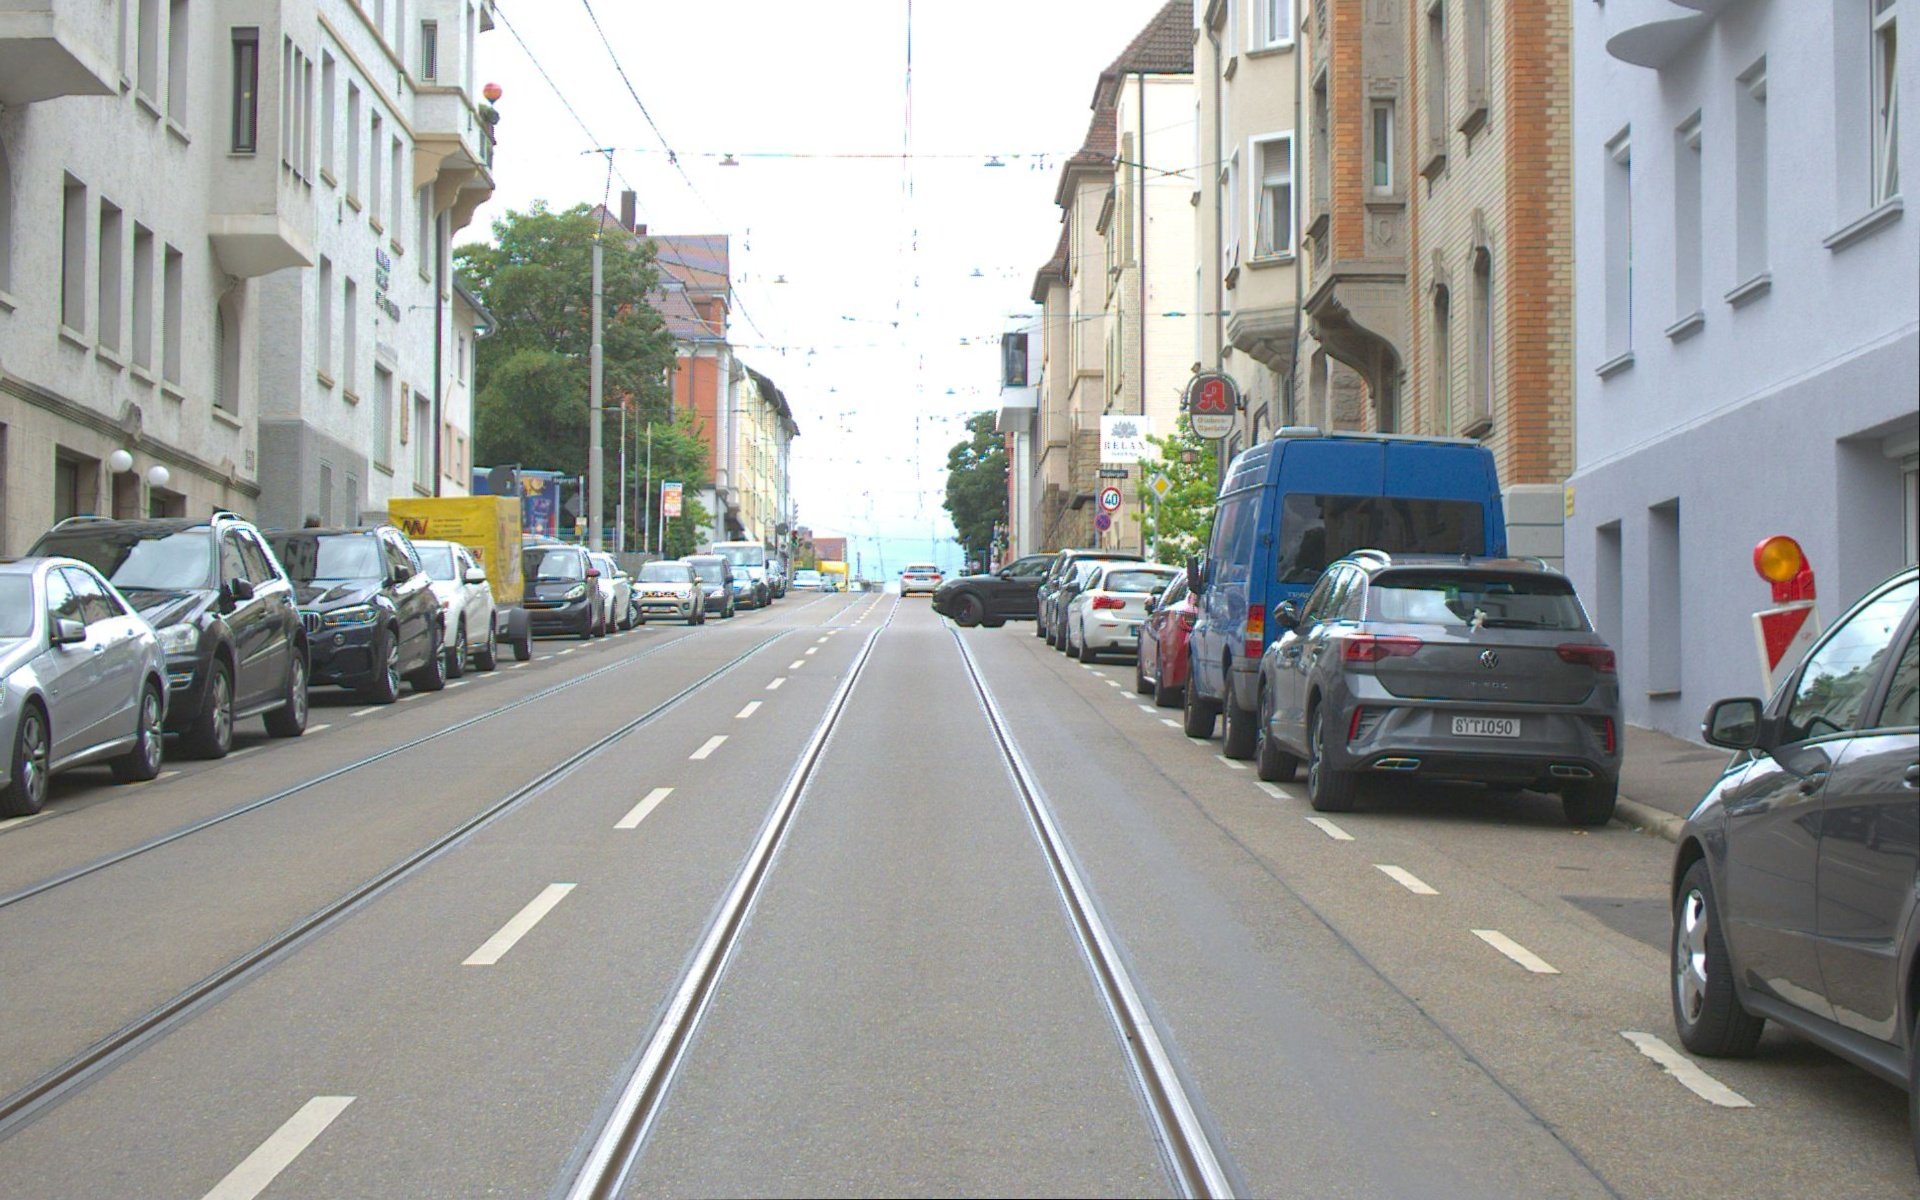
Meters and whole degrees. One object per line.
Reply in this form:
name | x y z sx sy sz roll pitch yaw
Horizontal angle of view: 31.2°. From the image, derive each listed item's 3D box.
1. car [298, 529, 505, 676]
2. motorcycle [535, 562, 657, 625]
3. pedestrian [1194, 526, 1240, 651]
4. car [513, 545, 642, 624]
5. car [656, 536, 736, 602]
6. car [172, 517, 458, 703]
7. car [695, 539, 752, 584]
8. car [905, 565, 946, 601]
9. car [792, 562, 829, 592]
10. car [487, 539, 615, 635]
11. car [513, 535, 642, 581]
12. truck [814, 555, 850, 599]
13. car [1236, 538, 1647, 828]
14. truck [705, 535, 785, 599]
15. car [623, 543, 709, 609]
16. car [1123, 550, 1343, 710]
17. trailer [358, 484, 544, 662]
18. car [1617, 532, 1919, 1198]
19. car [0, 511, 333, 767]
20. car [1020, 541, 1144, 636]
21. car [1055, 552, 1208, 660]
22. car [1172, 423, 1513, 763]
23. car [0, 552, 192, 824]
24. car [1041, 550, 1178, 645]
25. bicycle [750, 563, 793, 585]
car | -6.495 -0.017 40.410 1.697 1.588 4.268 -2 1 0
motorcycle | -6.820 -0.119 64.435 2.110 1.130 0.766 -1 1 13
pedestrian | 3.751 -0.170 50.248 0.599 1.797 0.632 1 0 -1
car | -6.798 -0.290 61.478 1.780 1.353 4.291 0 1 1
car | -7.281 -0.860 95.098 1.744 1.730 4.519 -1 1 1
car | -6.295 0.037 34.112 1.873 1.658 4.892 -2 1 0
car | -7.804 -1.272 113.670 1.697 1.428 4.482 -1 1 -2
car | -1.499 -0.749 147.604 1.672 1.508 3.798 0 1 -2
car | -8.182 -1.279 188.399 1.855 1.601 4.297 1 1 -1
car | -6.656 -0.226 56.239 1.697 1.463 3.023 -2 1 0
car | -12.597 -1.386 113.277 4.060 1.440 1.688 1 1 -1
truck | -8.979 -1.618 241.312 2.302 3.026 9.034 1 0 -1
car | 2.887 0.444 21.492 1.779 1.525 4.193 4 1 -1
truck | -7.587 -1.176 122.025 2.280 2.180 8.025 1 1 0
car | -7.167 -0.604 84.030 1.697 1.551 3.850 1 1 1
car | 2.742 0.266 35.481 1.779 1.470 4.590 2 1 -1
trailer | -6.538 -0.372 44.574 1.748 2.148 4.071 -2 1 0
car | 3.131 0.615 9.381 1.827 1.514 4.028 3 1 0
car | -6.136 0.221 26.055 1.827 1.712 4.913 -2 1 0
car | 2.096 -0.227 60.192 1.735 1.532 4.575 2 1 -3
car | 2.375 0.050 48.587 1.750 1.386 4.308 2 1 -2
car | 2.845 -0.064 26.696 1.993 2.368 5.056 1 0 -1
car | -6.091 0.472 20.669 1.827 1.424 4.839 -2 1 0
car | 2.344 -0.067 54.928 1.779 1.386 4.692 2 1 -2
bicycle | -8.700 -1.187 158.722 1.911 0.996 0.479 1 1 0
